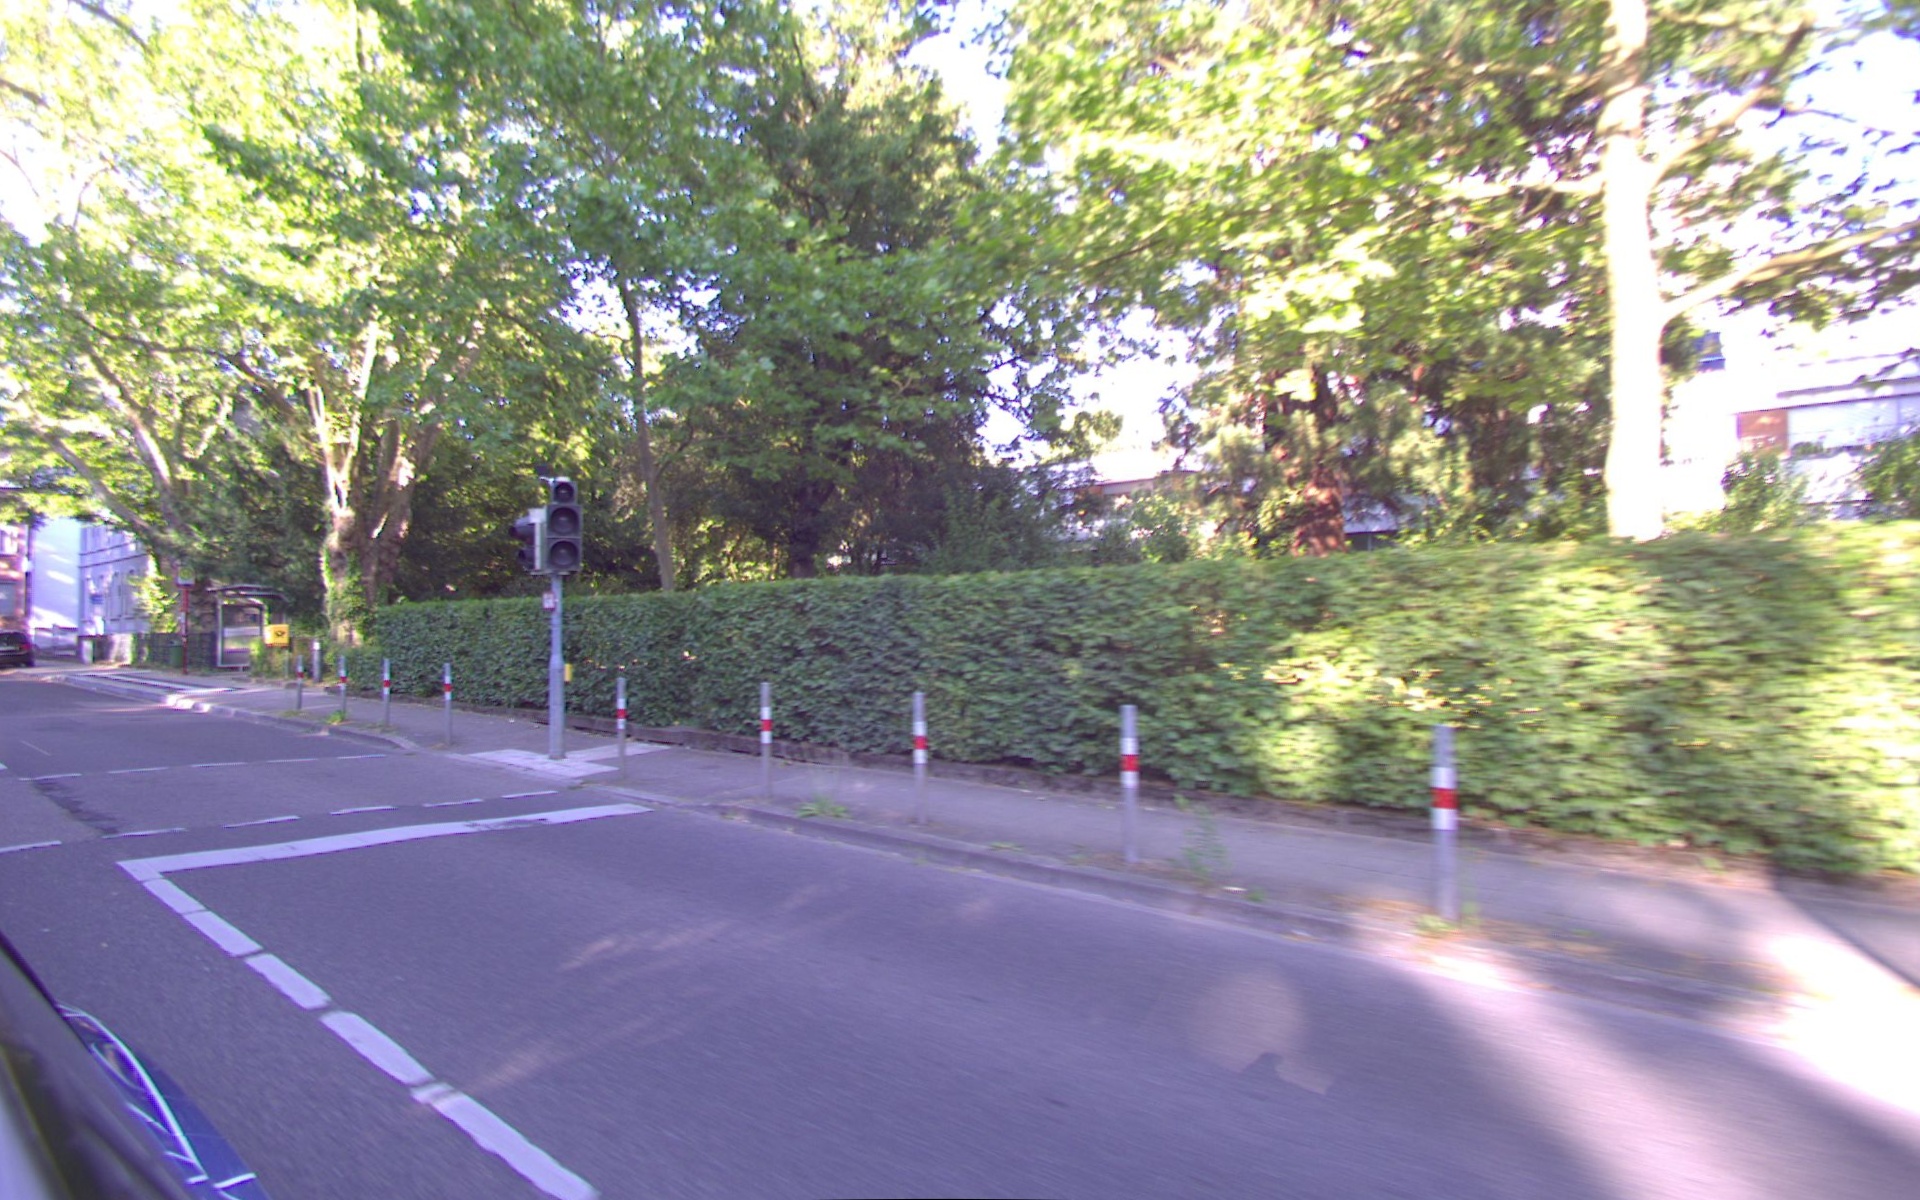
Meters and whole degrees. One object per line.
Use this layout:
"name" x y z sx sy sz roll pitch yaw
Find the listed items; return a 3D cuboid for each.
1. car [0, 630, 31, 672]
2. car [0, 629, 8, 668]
"car" -35.372 1.882 36.911 3.612 1.445 1.669 -2 1 40
"car" -39.305 1.929 40.289 3.319 1.558 1.607 -2 -2 39
